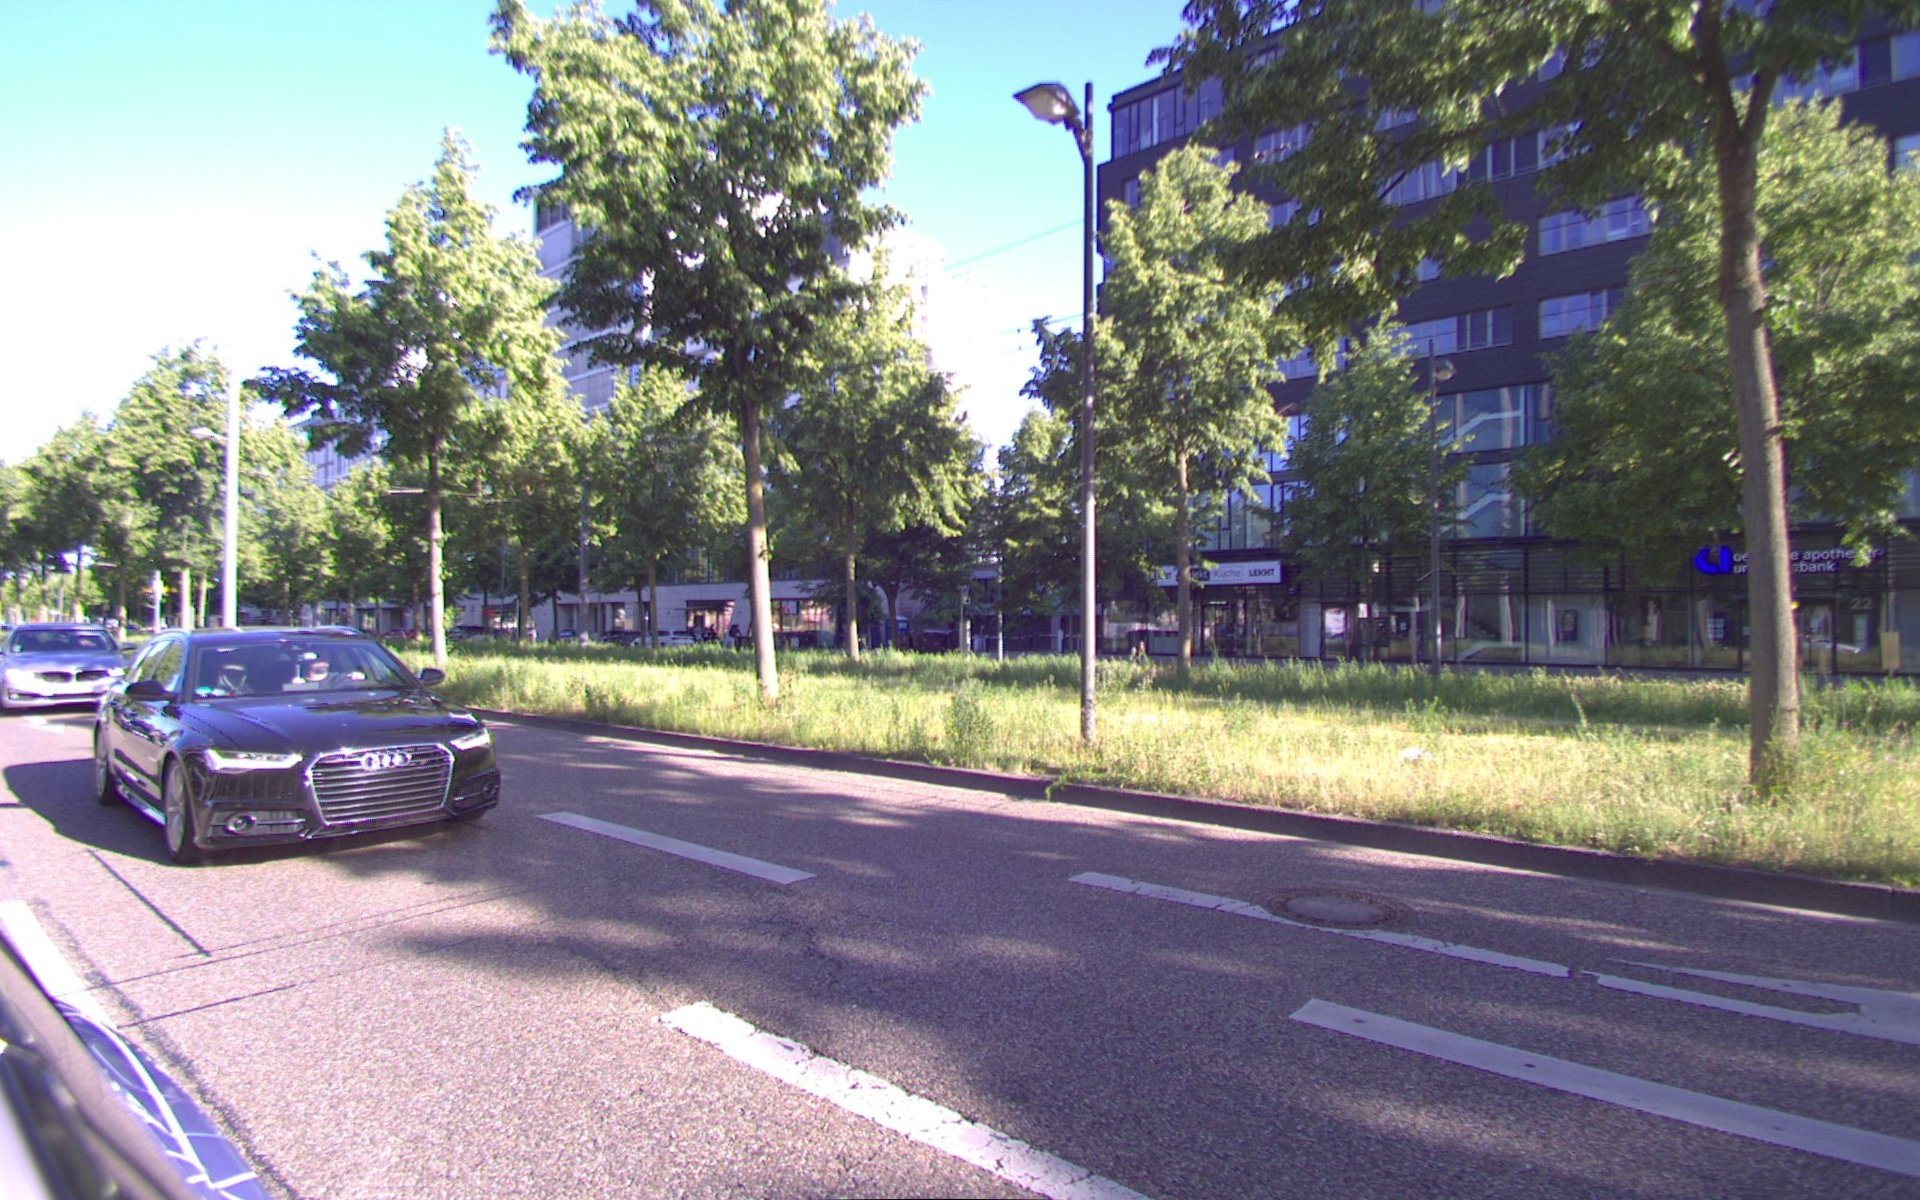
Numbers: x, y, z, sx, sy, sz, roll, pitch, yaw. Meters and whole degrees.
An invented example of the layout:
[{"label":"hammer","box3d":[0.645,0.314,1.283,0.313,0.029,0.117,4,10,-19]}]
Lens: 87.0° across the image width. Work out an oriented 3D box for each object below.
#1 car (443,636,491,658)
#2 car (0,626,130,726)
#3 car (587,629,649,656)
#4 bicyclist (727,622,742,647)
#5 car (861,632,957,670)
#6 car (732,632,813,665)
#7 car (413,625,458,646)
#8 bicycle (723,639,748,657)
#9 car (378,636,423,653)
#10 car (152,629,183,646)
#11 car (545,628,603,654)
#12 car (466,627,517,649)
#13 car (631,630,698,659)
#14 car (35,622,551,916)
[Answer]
[{"label":"car","box3d":[-37.832,3.589,77.631,4.182,1.610,1.859,-1,-2,41]},{"label":"car","box3d":[-15.782,1.193,17.205,4.558,1.496,1.800,-1,-2,40]},{"label":"car","box3d":[-21.396,2.620,63.234,4.182,1.610,1.859,-1,-2,41]},{"label":"bicyclist","box3d":[-13.180,2.014,59.106,0.820,1.435,0.472,-1,-2,41]},{"label":"car","box3d":[-2.327,2.257,45.722,4.182,1.610,1.926,-1,-2,41]},{"label":"car","box3d":[-9.730,2.493,52.377,4.182,1.610,1.926,-1,-2,41]},{"label":"car","box3d":[-42.291,2.847,81.547,4.182,1.610,1.859,-1,-2,41]},{"label":"bicycle","box3d":[-13.107,2.787,59.013,1.755,1.043,0.472,-1,-2,41]},{"label":"car","box3d":[-48.141,3.816,87.068,3.995,1.406,1.974,-1,-2,39]},{"label":"car","box3d":[-82.002,3.890,104.716,3.998,1.694,1.870,-1,-2,41]},{"label":"car","box3d":[-25.426,2.665,66.644,4.182,1.610,1.859,-1,-2,41]},{"label":"car","box3d":[-34.371,2.766,74.147,4.182,1.610,1.859,-1,-2,41]},{"label":"car","box3d":[-17.369,2.579,59.411,4.182,1.610,1.859,-1,-2,41]},{"label":"car","box3d":[-5.163,0.917,7.495,4.963,1.496,1.855,-1,-2,40]}]
